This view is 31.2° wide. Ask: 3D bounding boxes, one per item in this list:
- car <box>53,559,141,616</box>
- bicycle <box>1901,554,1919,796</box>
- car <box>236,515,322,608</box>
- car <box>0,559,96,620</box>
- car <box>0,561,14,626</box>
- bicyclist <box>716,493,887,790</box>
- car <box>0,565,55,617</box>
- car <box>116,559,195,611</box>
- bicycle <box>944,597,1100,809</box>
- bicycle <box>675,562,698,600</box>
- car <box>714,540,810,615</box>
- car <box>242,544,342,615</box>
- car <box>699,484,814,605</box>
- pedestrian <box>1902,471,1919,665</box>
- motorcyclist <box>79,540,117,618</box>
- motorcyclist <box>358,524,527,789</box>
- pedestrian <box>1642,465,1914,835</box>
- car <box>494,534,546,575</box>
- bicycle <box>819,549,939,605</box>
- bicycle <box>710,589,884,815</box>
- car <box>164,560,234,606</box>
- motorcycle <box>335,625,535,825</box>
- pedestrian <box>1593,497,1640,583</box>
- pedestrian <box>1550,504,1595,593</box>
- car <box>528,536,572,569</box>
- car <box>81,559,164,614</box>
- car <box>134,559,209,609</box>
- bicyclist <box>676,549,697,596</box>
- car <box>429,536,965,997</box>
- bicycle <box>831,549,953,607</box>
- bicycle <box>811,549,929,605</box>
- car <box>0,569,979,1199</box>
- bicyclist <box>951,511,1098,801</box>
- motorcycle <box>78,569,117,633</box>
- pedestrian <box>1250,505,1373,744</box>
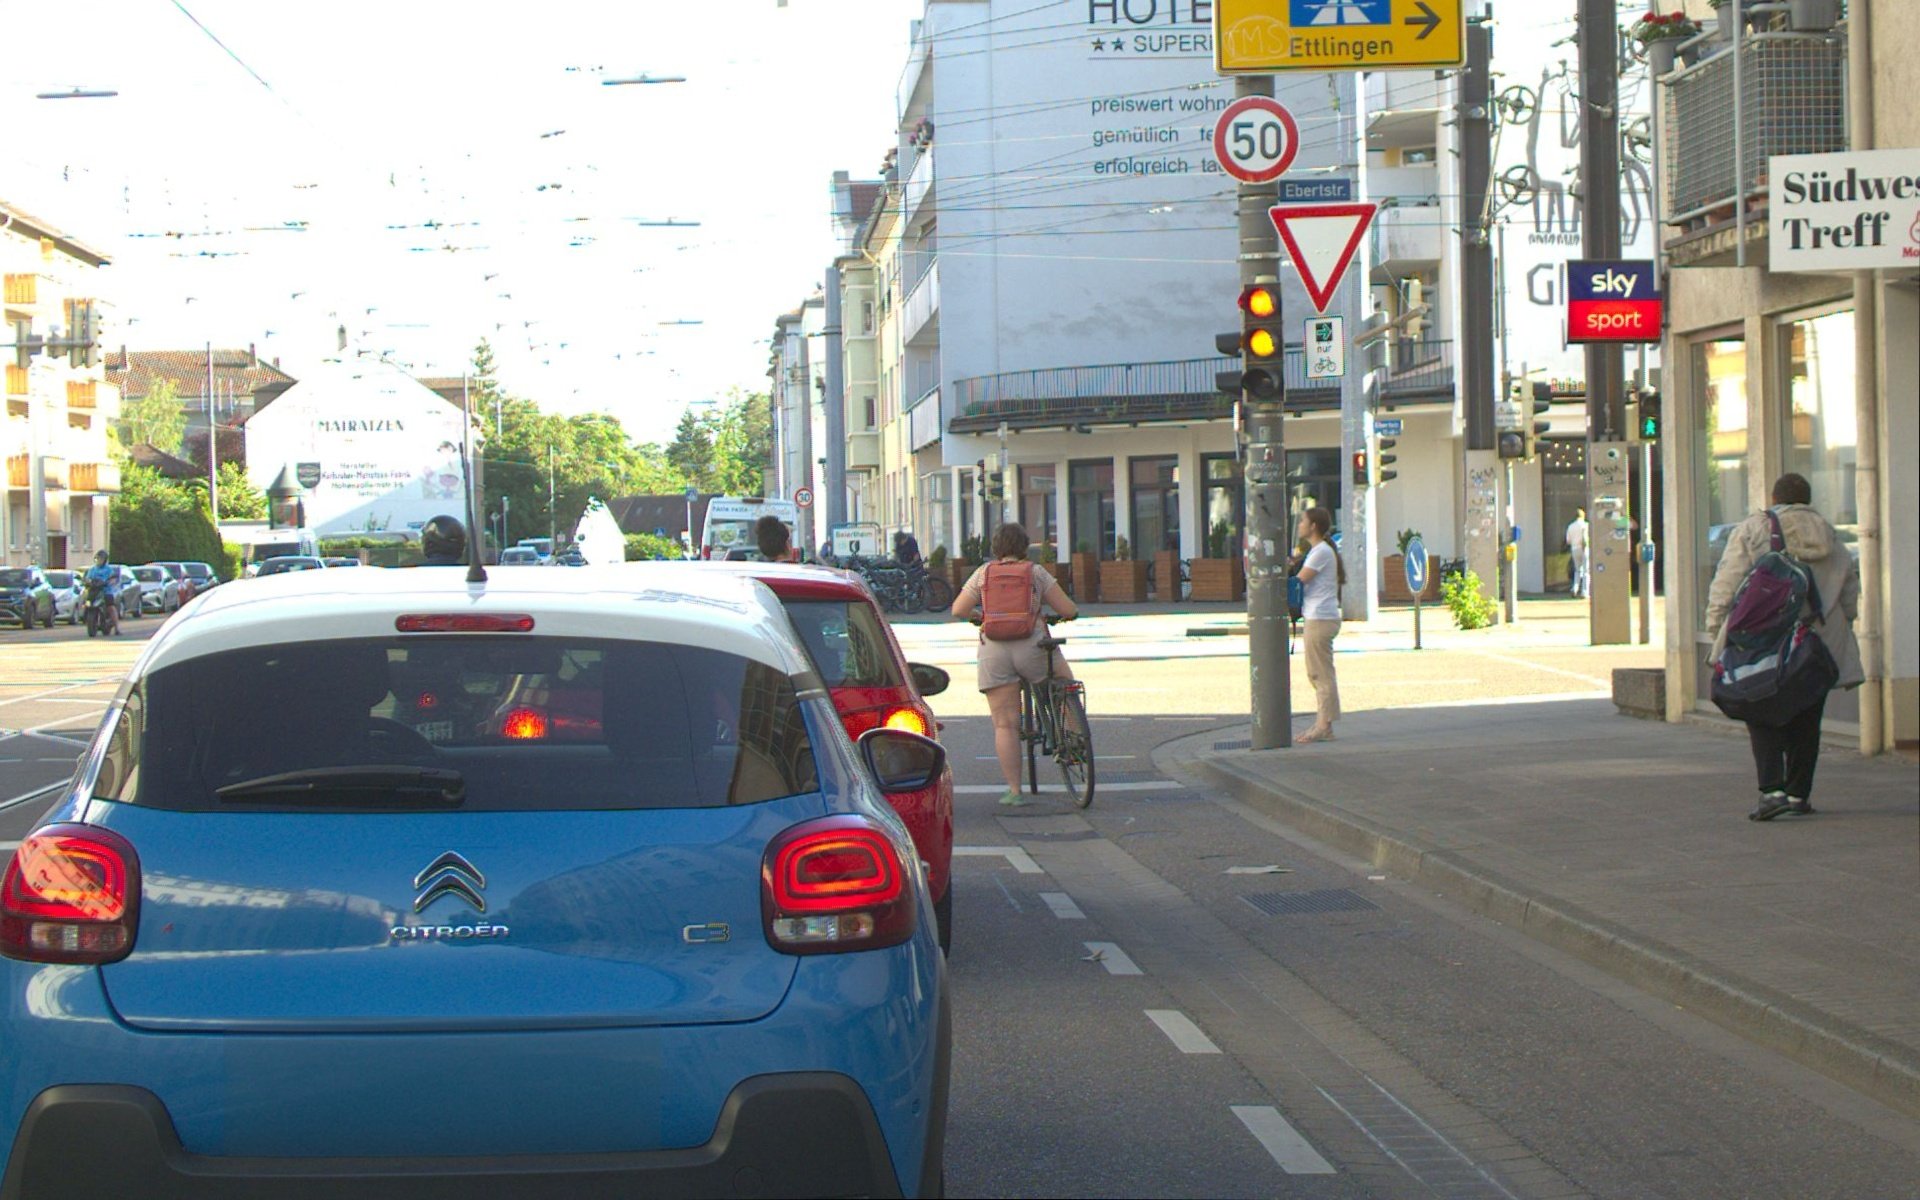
[{"bbox_3d":[-24.608,-0.366,98.139,1.869,1.571,4.001,1,1,-6],"label":"car"},{"bbox_3d":[4.862,0.359,15.765,0.496,1.157,1.777,-1,0,-3],"label":"bicycle"},{"bbox_3d":[-23.562,-1.323,119.101,2.417,3.131,3.489,1,0,-3],"label":"car"},{"bbox_3d":[-24.395,-0.303,92.079,1.869,1.571,4.001,1,1,-6],"label":"car"},{"bbox_3d":[-23.186,-0.160,79.429,1.741,1.521,4.230,1,1,-4],"label":"car"},{"bbox_3d":[-0.911,0.230,19.962,0.940,1.667,1.079,1,0,-2],"label":"bicyclist"},{"bbox_3d":[-24.031,-0.245,86.073,1.946,1.235,4.283,1,1,-5],"label":"car"},{"bbox_3d":[-25.159,-0.469,107.618,1.869,1.571,4.001,1,1,-6],"label":"car"},{"bbox_3d":[0.394,0.583,20.571,0.811,1.177,2.064,1,1,4],"label":"bicycle"},{"bbox_3d":[-12.014,-0.850,151.064,0.791,1.664,2.230,1,0,1],"label":"bicycle"},{"bbox_3d":[-3.936,-0.455,67.853,1.657,1.426,3.889,1,1,-7],"label":"car"},{"bbox_3d":[-14.825,-0.469,76.460,1.778,1.481,3.829,-2,1,-5],"label":"car"},{"bbox_3d":[-4.347,-1.163,72.825,2.265,2.473,5.009,0,1,-5],"label":"car"},{"bbox_3d":[5.765,-0.190,19.274,0.623,1.084,0.679,-3,2,-37],"label":"pedestrian"},{"bbox_3d":[-16.826,-0.413,67.084,0.693,1.491,0.684,-1,-1,-14],"label":"motorcyclist"},{"bbox_3d":[-2.968,0.314,19.779,0.855,1.483,0.729,1,0,-1],"label":"motorcyclist"},{"bbox_3d":[3.709,0.210,15.638,0.884,1.586,0.811,-4,2,-8],"label":"pedestrian"},{"bbox_3d":[-21.742,-2.245,169.971,2.218,1.925,4.950,1,1,-4],"label":"car"},{"bbox_3d":[-1.596,-0.453,67.180,2.251,0.998,0.856,-3,1,-5],"label":"bicycle"},{"bbox_3d":[-0.928,0.558,20.001,0.940,1.219,2.095,1,1,-2],"label":"bicycle"},{"bbox_3d":[-26.301,-0.599,118.940,1.869,1.571,4.001,1,1,-6],"label":"car"},{"bbox_3d":[-2.967,0.686,19.618,0.855,1.043,1.942,1,1,-1],"label":"motorcycle"},{"bbox_3d":[12.354,-1.128,64.721,0.611,1.603,0.667,1,0,38],"label":"pedestrian"},{"bbox_3d":[11.114,-0.930,62.335,0.610,1.603,0.668,1,0,27],"label":"pedestrian"},{"bbox_3d":[-22.375,-2.579,187.878,2.074,1.756,5.037,1,1,-4],"label":"car"},{"bbox_3d":[-25.000,-0.418,102.722,1.869,1.571,4.001,1,1,-6],"label":"car"},{"bbox_3d":[-25.829,-0.530,112.726,1.869,1.571,4.001,1,1,-6],"label":"car"},{"bbox_3d":[-12.009,-1.211,151.063,0.791,2.018,0.986,1,0,1],"label":"bicyclist"},{"bbox_3d":[-1.056,0.533,13.482,1.784,1.516,3.763,1,1,-5],"label":"car"},{"bbox_3d":[-1.305,-0.426,65.813,2.251,0.998,0.856,-3,1,-5],"label":"bicycle"},{"bbox_3d":[-1.799,-0.459,68.292,2.251,0.998,0.856,-3,1,-5],"label":"bicycle"},{"bbox_3d":[-0.908,0.670,7.205,1.736,1.447,3.663,0,1,-2],"label":"car"},{"bbox_3d":[0.396,0.323,20.563,0.811,1.686,0.935,1,0,4],"label":"bicyclist"},{"bbox_3d":[-16.804,0.029,66.985,0.711,1.216,1.966,-1,-1,-14],"label":"motorcycle"},{"bbox_3d":[2.476,0.167,24.174,0.540,1.618,0.732,-5,-1,21],"label":"pedestrian"}]
